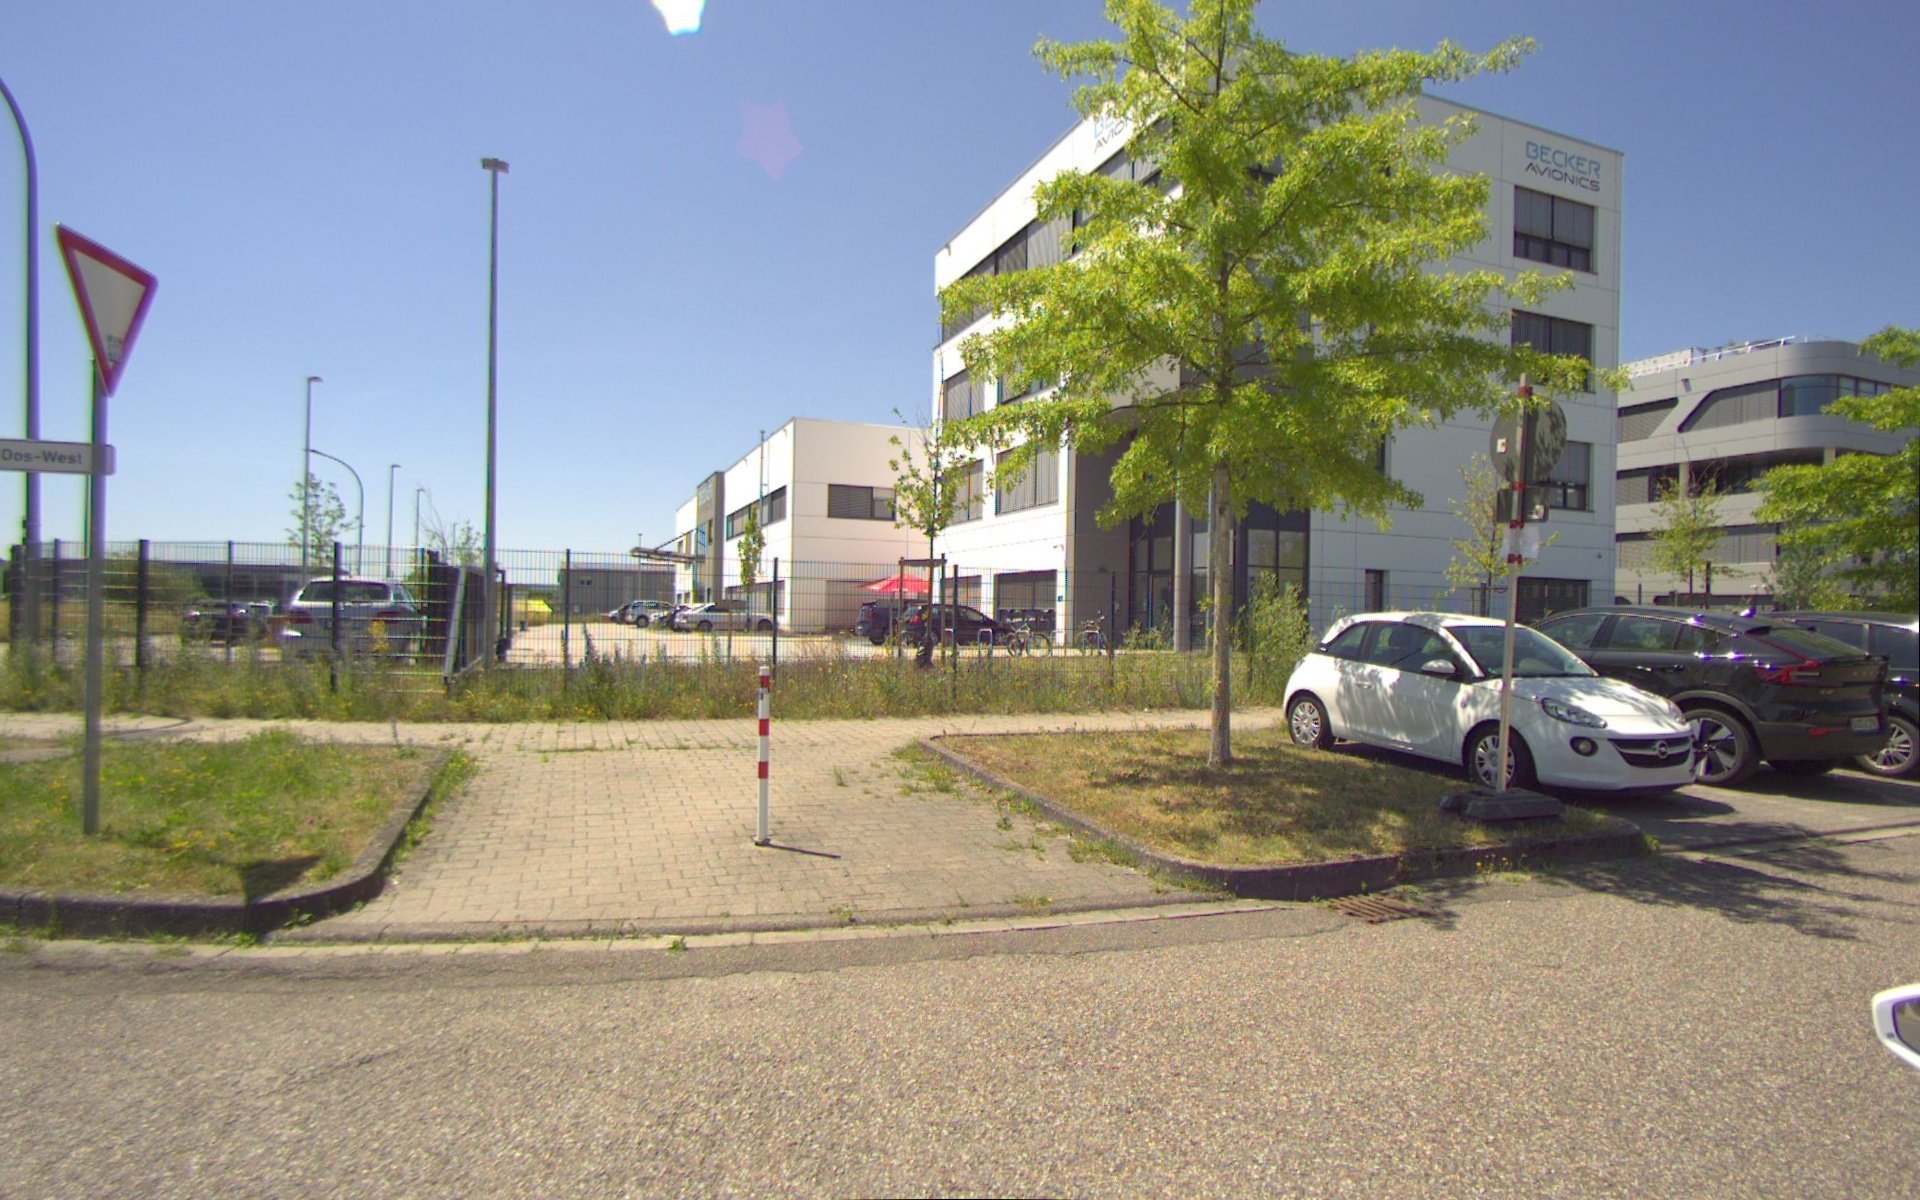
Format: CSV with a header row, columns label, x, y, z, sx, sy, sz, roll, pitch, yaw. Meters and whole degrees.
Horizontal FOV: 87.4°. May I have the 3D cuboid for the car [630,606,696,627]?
label,x,y,z,sx,sy,sz,roll,pitch,yaw
car,-20.250,1.131,68.456,4.105,1.357,1.772,1,-1,-23

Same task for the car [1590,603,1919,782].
label,x,y,z,sx,sy,sz,roll,pitch,yaw
car,9.405,0.903,11.062,1.702,1.613,3.898,1,1,-22

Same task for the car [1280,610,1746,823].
label,x,y,z,sx,sy,sz,roll,pitch,yaw
car,4.836,0.889,9.337,1.702,1.460,3.497,1,1,-22

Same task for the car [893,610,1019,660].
label,x,y,z,sx,sy,sz,roll,pitch,yaw
car,-0.133,1.179,34.206,3.943,1.623,1.772,1,-1,-23

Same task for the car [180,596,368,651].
label,x,y,z,sx,sy,sz,roll,pitch,yaw
car,-20.330,0.720,29.996,4.341,1.534,1.690,1,-1,-23

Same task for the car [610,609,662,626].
label,x,y,z,sx,sy,sz,roll,pitch,yaw
car,-27.712,1.528,85.823,4.105,1.357,1.772,1,-1,-23

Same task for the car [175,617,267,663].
label,x,y,z,sx,sy,sz,roll,pitch,yaw
car,-24.690,1.318,33.709,1.674,1.395,3.976,1,-1,-25

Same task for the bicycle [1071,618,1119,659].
label,x,y,z,sx,sy,sz,roll,pitch,yaw
bicycle,3.396,0.970,25.389,0.455,0.995,1.588,1,-1,-23

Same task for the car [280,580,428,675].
label,x,y,z,sx,sy,sz,roll,pitch,yaw
car,-10.507,0.463,17.667,1.699,1.483,3.661,1,-1,-23

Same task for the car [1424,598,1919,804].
label,x,y,z,sx,sy,sz,roll,pitch,yaw
car,7.056,0.851,10.400,1.804,1.615,3.827,1,1,-25

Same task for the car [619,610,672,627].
label,x,y,z,sx,sy,sz,roll,pitch,yaw
car,-26.424,1.534,84.351,4.105,1.357,1.772,1,-1,-23

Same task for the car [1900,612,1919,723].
label,x,y,z,sx,sy,sz,roll,pitch,yaw
car,15.469,1.038,13.453,1.703,1.613,3.828,1,1,-24

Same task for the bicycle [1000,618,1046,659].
label,x,y,z,sx,sy,sz,roll,pitch,yaw
bicycle,1.548,0.941,24.959,0.455,0.995,1.588,1,-1,-23

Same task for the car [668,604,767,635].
label,x,y,z,sx,sy,sz,roll,pitch,yaw
car,-11.408,0.923,47.285,4.277,1.357,1.772,1,-1,-23

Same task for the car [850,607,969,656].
label,x,y,z,sx,sy,sz,roll,pitch,yaw
car,-1.848,1.145,36.587,3.943,1.706,1.772,1,-1,-23
